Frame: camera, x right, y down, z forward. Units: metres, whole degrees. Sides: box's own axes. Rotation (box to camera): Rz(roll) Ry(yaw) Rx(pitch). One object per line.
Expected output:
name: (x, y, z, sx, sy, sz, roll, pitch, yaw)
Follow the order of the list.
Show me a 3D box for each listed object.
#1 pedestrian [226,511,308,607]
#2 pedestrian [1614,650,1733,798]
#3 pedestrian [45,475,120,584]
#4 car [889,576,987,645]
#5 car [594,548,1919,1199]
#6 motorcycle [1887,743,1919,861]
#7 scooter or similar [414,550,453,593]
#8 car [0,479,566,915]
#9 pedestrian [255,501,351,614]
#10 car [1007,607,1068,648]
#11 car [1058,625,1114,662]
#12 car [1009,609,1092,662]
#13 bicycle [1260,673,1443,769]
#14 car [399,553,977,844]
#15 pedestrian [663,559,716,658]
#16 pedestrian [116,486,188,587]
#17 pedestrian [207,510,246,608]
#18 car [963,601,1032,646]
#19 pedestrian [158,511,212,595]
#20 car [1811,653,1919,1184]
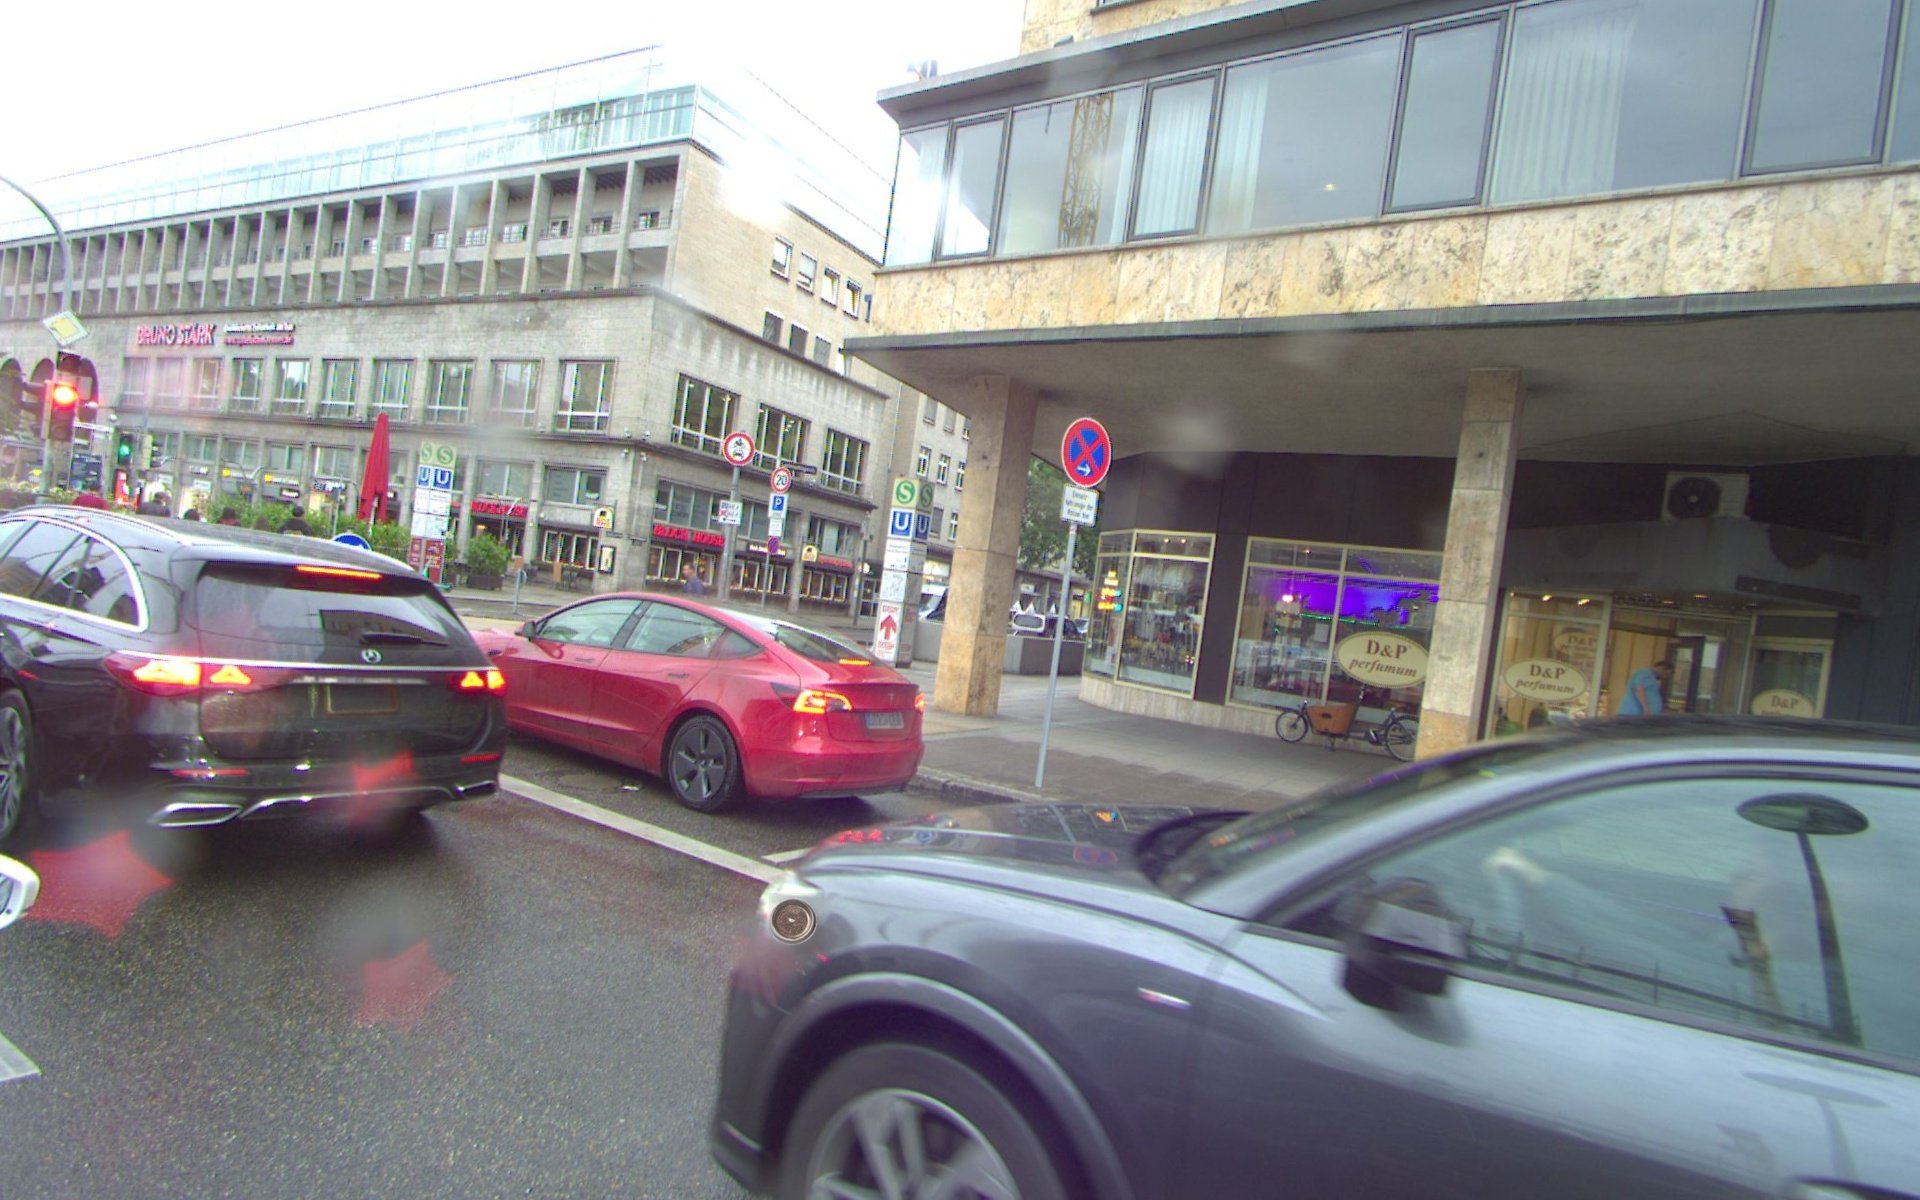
pedestrian: (-13.064, -0.770, 18.978, 0.884, 1.645, 0.795, 7, -1, 28)
pedestrian: (9.737, 1.669, 13.730, 1.119, 1.811, 0.798, 6, -1, 39)
pedestrian: (-15.319, -1.211, 17.577, 0.561, 1.772, 0.678, 7, -1, -15)
car: (-1.002, 0.614, 51.328, 1.965, 2.792, 6.185, 7, -2, 28)
car: (1.519, 0.929, 2.017, 4.271, 1.519, 1.882, 6, -2, 32)
motorcycle: (11.159, 2.282, 10.475, 2.074, 1.232, 0.567, 6, -2, 40)
scooter or similar: (-16.347, -0.884, 31.254, 1.000, 1.203, 0.291, 7, -1, 13)
car: (-4.483, 0.243, 5.548, 4.552, 1.519, 1.797, 6, -2, 32)
pedestrian: (-11.157, -0.704, 17.103, 0.642, 1.774, 1.097, 7, 2, 29)
car: (4.945, 1.743, 63.246, 1.966, 2.065, 4.483, 7, -2, 29)
car: (8.846, 3.036, 70.230, 1.966, 2.065, 4.833, 7, -2, 30)
car: (4.293, 1.688, 46.834, 1.966, 1.995, 4.638, 7, -1, 29)
bicycle: (5.932, 1.810, 15.339, 2.431, 1.058, 0.657, 6, -1, 32)
car: (-2.317, 0.653, 8.211, 4.451, 1.503, 1.878, 6, -2, 31)
pedestrian: (-5.181, 0.168, 19.292, 0.768, 1.777, 0.503, 8, -1, -15)
pedestrian: (-15.000, -1.167, 18.692, 0.458, 1.737, 0.757, 7, -1, 28)
pedestrian: (-13.802, -0.783, 18.929, 0.479, 1.774, 0.659, 4, 2, -38)
car: (2.232, 1.393, 58.511, 1.966, 2.065, 4.557, 7, -2, 29)
pedestrian: (-14.270, -0.864, 18.543, 0.627, 1.444, 0.485, 8, -1, -36)
car: (5.982, 1.425, 2.991, 4.853, 1.942, 1.878, 6, -2, 31)
